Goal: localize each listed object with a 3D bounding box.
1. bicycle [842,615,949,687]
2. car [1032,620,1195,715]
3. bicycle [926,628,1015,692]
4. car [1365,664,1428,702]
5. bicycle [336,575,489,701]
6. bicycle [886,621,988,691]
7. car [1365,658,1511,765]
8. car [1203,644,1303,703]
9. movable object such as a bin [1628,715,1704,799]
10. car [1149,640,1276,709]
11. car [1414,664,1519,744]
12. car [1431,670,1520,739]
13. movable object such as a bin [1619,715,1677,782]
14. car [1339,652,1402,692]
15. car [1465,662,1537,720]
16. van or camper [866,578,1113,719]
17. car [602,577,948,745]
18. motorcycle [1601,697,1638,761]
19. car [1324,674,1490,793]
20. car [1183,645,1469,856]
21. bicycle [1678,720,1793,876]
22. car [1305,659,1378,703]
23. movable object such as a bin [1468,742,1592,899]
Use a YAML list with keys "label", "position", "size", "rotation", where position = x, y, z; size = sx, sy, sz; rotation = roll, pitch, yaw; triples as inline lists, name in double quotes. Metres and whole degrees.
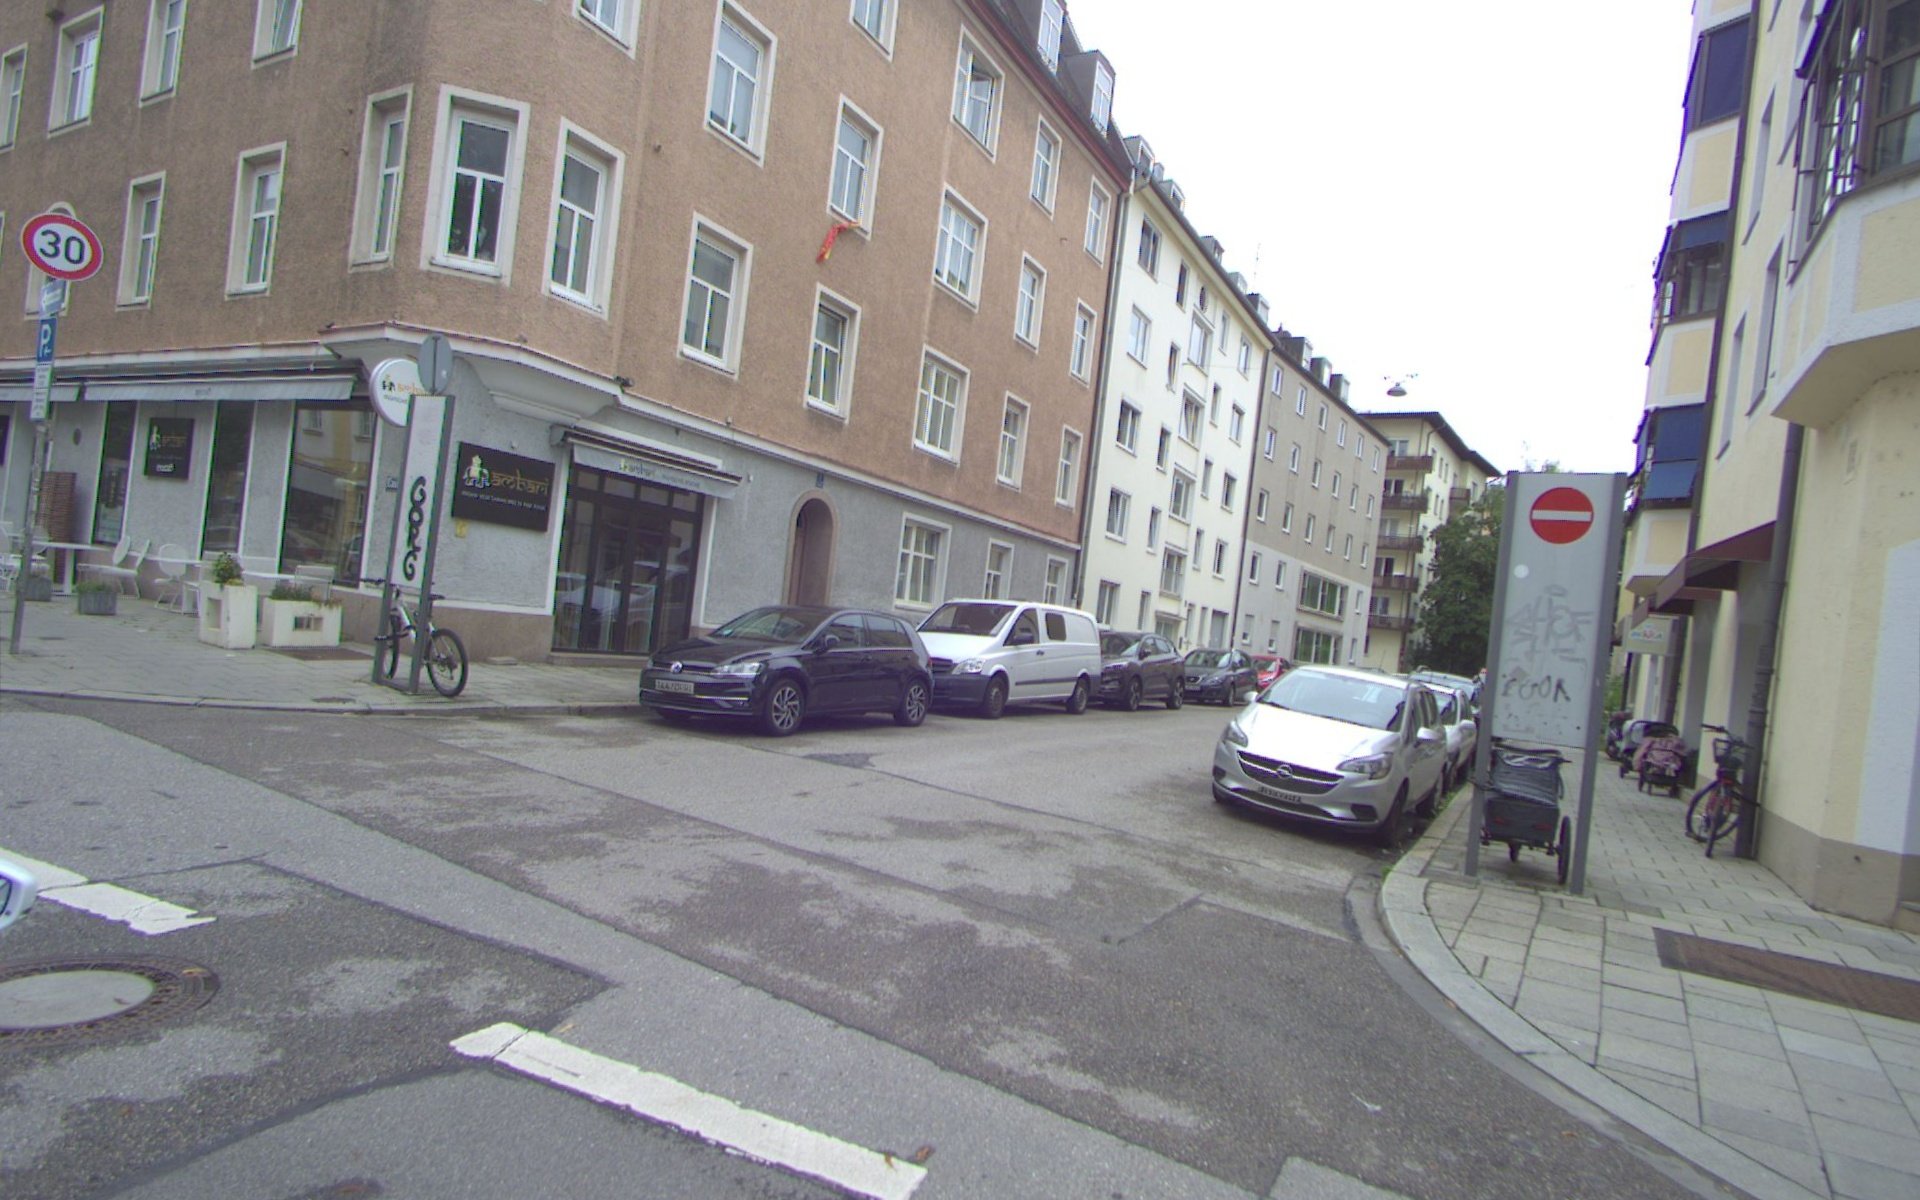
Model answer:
- label: "bicycle"
  position: [-1.249, 0.971, 19.376]
  size: [1.892, 1.158, 0.475]
  rotation: [6, 0, 14]
- label: "car"
  position: [3.408, 1.457, 21.730]
  size: [1.946, 1.664, 3.989]
  rotation: [6, -1, 32]
- label: "bicycle"
  position: [0.227, 1.273, 21.634]
  size: [1.766, 1.158, 0.418]
  rotation: [6, 0, 14]
- label: "car"
  position: [22.667, 4.309, 52.145]
  size: [1.948, 1.587, 4.419]
  rotation: [6, -2, 36]
- label: "bicycle"
  position: [-5.562, 0.362, 10.177]
  size: [1.773, 1.018, 0.496]
  rotation: [8, 2, 33]
- label: "bicycle"
  position: [-0.464, 1.115, 20.235]
  size: [1.892, 1.158, 0.418]
  rotation: [6, 0, 14]
- label: "car"
  position: [9.235, 2.083, 19.268]
  size: [1.952, 1.603, 4.021]
  rotation: [6, -1, 32]
- label: "car"
  position: [9.739, 2.416, 33.166]
  size: [1.945, 1.587, 4.661]
  rotation: [6, -1, 31]
- label: "movable object such as a bin"
  position: [10.771, 2.369, 15.379]
  size: [0.755, 1.094, 1.124]
  rotation: [6, 0, 31]
- label: "car"
  position: [7.146, 2.140, 28.143]
  size: [1.946, 1.521, 4.662]
  rotation: [6, -2, 33]
- label: "car"
  position: [12.779, 2.593, 25.244]
  size: [1.945, 1.587, 4.425]
  rotation: [6, -2, 30]
- label: "car"
  position: [15.077, 3.017, 29.296]
  size: [1.945, 1.587, 4.425]
  rotation: [6, -2, 30]
- label: "movable object such as a bin"
  position: [12.139, 2.599, 17.769]
  size: [0.672, 1.026, 1.124]
  rotation: [6, 0, 31]
- label: "car"
  position: [19.675, 3.463, 48.141]
  size: [1.946, 1.587, 4.421]
  rotation: [6, -1, 32]
- label: "car"
  position: [22.210, 3.728, 41.203]
  size: [2.032, 2.002, 4.422]
  rotation: [6, -2, 34]
- label: "van or camper"
  position: [0.697, 0.885, 17.082]
  size: [1.929, 1.941, 4.907]
  rotation: [4, -2, 31]
- label: "car"
  position: [-2.000, 0.736, 11.993]
  size: [1.860, 1.505, 3.879]
  rotation: [6, -1, 30]
- label: "motorcycle"
  position: [15.224, 2.948, 23.250]
  size: [0.547, 1.356, 1.882]
  rotation: [6, 0, 33]
- label: "car"
  position: [6.719, 1.880, 14.935]
  size: [1.613, 1.353, 3.447]
  rotation: [6, -1, 33]
- label: "car"
  position: [3.862, 1.393, 10.218]
  size: [1.723, 1.458, 3.737]
  rotation: [10, 1, 34]
- label: "bicycle"
  position: [7.273, 1.793, 9.504]
  size: [0.507, 1.201, 1.903]
  rotation: [7, 0, 30]
- label: "car"
  position: [16.670, 3.504, 43.811]
  size: [1.946, 1.587, 4.659]
  rotation: [6, -1, 32]
- label: "movable object such as a bin"
  position: [4.261, 1.598, 7.521]
  size: [0.672, 0.911, 1.124]
  rotation: [6, 0, 31]
